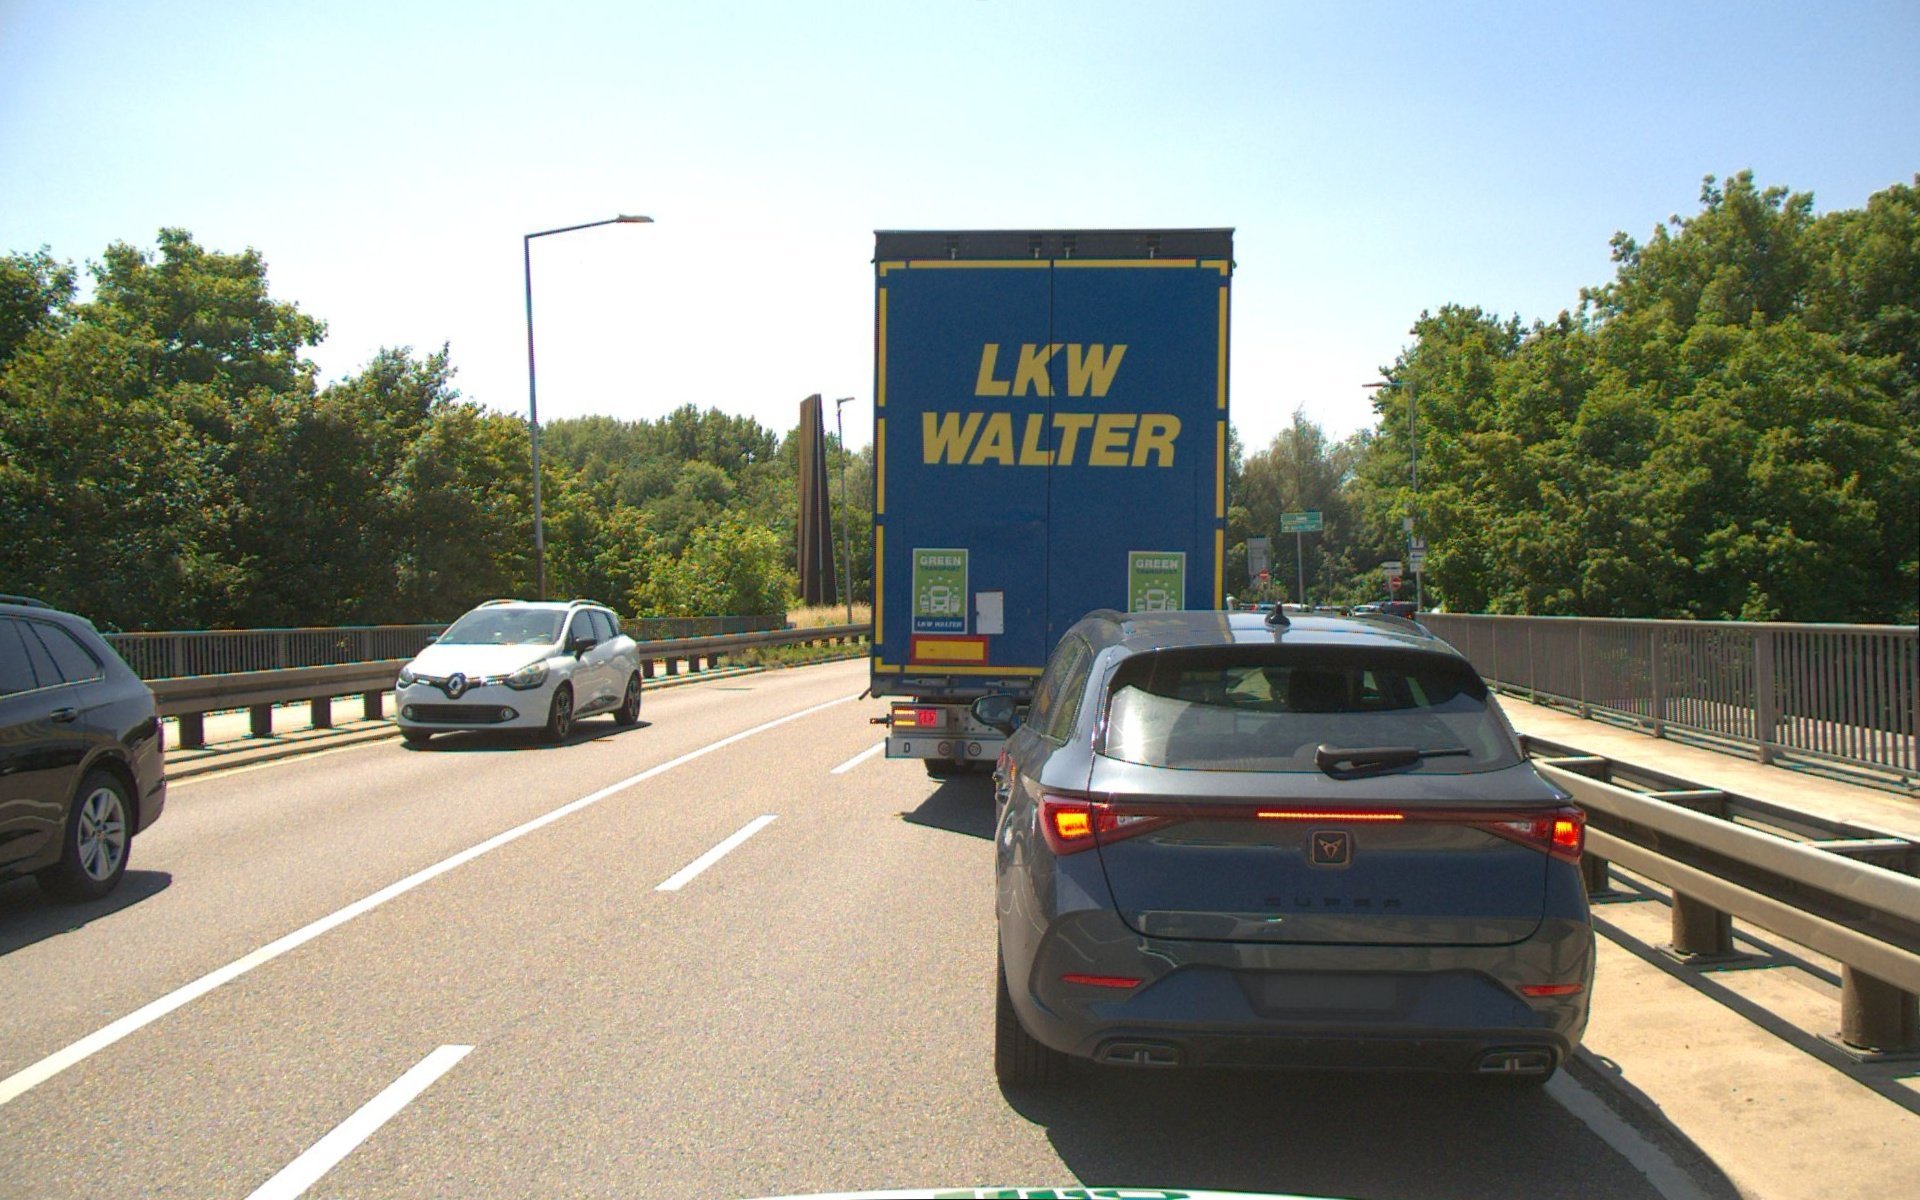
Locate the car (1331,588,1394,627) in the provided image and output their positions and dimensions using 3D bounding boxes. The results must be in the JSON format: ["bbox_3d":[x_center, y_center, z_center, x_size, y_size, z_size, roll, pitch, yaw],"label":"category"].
[{"bbox_3d":[18.191,0.346,74.674,1.954,1.603,3.996,2,-1,26],"label":"car"}]

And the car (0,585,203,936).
[{"bbox_3d":[-4.932,0.686,6.667,1.675,1.494,4.460,0,0,0],"label":"car"}]

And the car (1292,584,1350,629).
[{"bbox_3d":[14.940,0.288,68.373,1.651,1.791,3.999,0,-1,22],"label":"car"}]

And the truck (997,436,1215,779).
[{"bbox_3d":[2.311,0.069,25.080,2.843,4.496,6.560,0,0,7],"label":"truck"}]

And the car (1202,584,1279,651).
[{"bbox_3d":[8.075,0.476,47.425,1.684,1.834,4.002,0,0,17],"label":"car"}]

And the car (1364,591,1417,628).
[{"bbox_3d":[21.012,0.474,80.672,1.653,1.791,3.995,0,-1,28],"label":"car"}]

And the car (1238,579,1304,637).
[{"bbox_3d":[10.485,0.259,55.589,1.685,1.876,4.002,0,0,18],"label":"car"}]

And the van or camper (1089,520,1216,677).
[{"bbox_3d":[4.033,-0.043,33.673,2.108,2.865,6.393,0,0,11],"label":"van or camper"}]

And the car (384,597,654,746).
[{"bbox_3d":[-4.754,0.711,18.426,1.565,1.474,4.058,0,0,6],"label":"car"}]

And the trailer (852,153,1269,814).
[{"bbox_3d":[1.414,-0.828,17.590,2.843,4.496,12.442,0,0,7],"label":"trailer"}]

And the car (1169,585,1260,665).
[{"bbox_3d":[6.370,0.577,41.081,1.684,1.876,4.002,0,1,17],"label":"car"}]

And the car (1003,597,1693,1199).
[{"bbox_3d":[0.978,0.733,5.934,1.642,1.481,3.959,0,0,1],"label":"car"}]

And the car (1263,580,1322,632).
[{"bbox_3d":[12.432,0.216,61.685,1.685,1.876,4.002,0,0,18],"label":"car"}]
